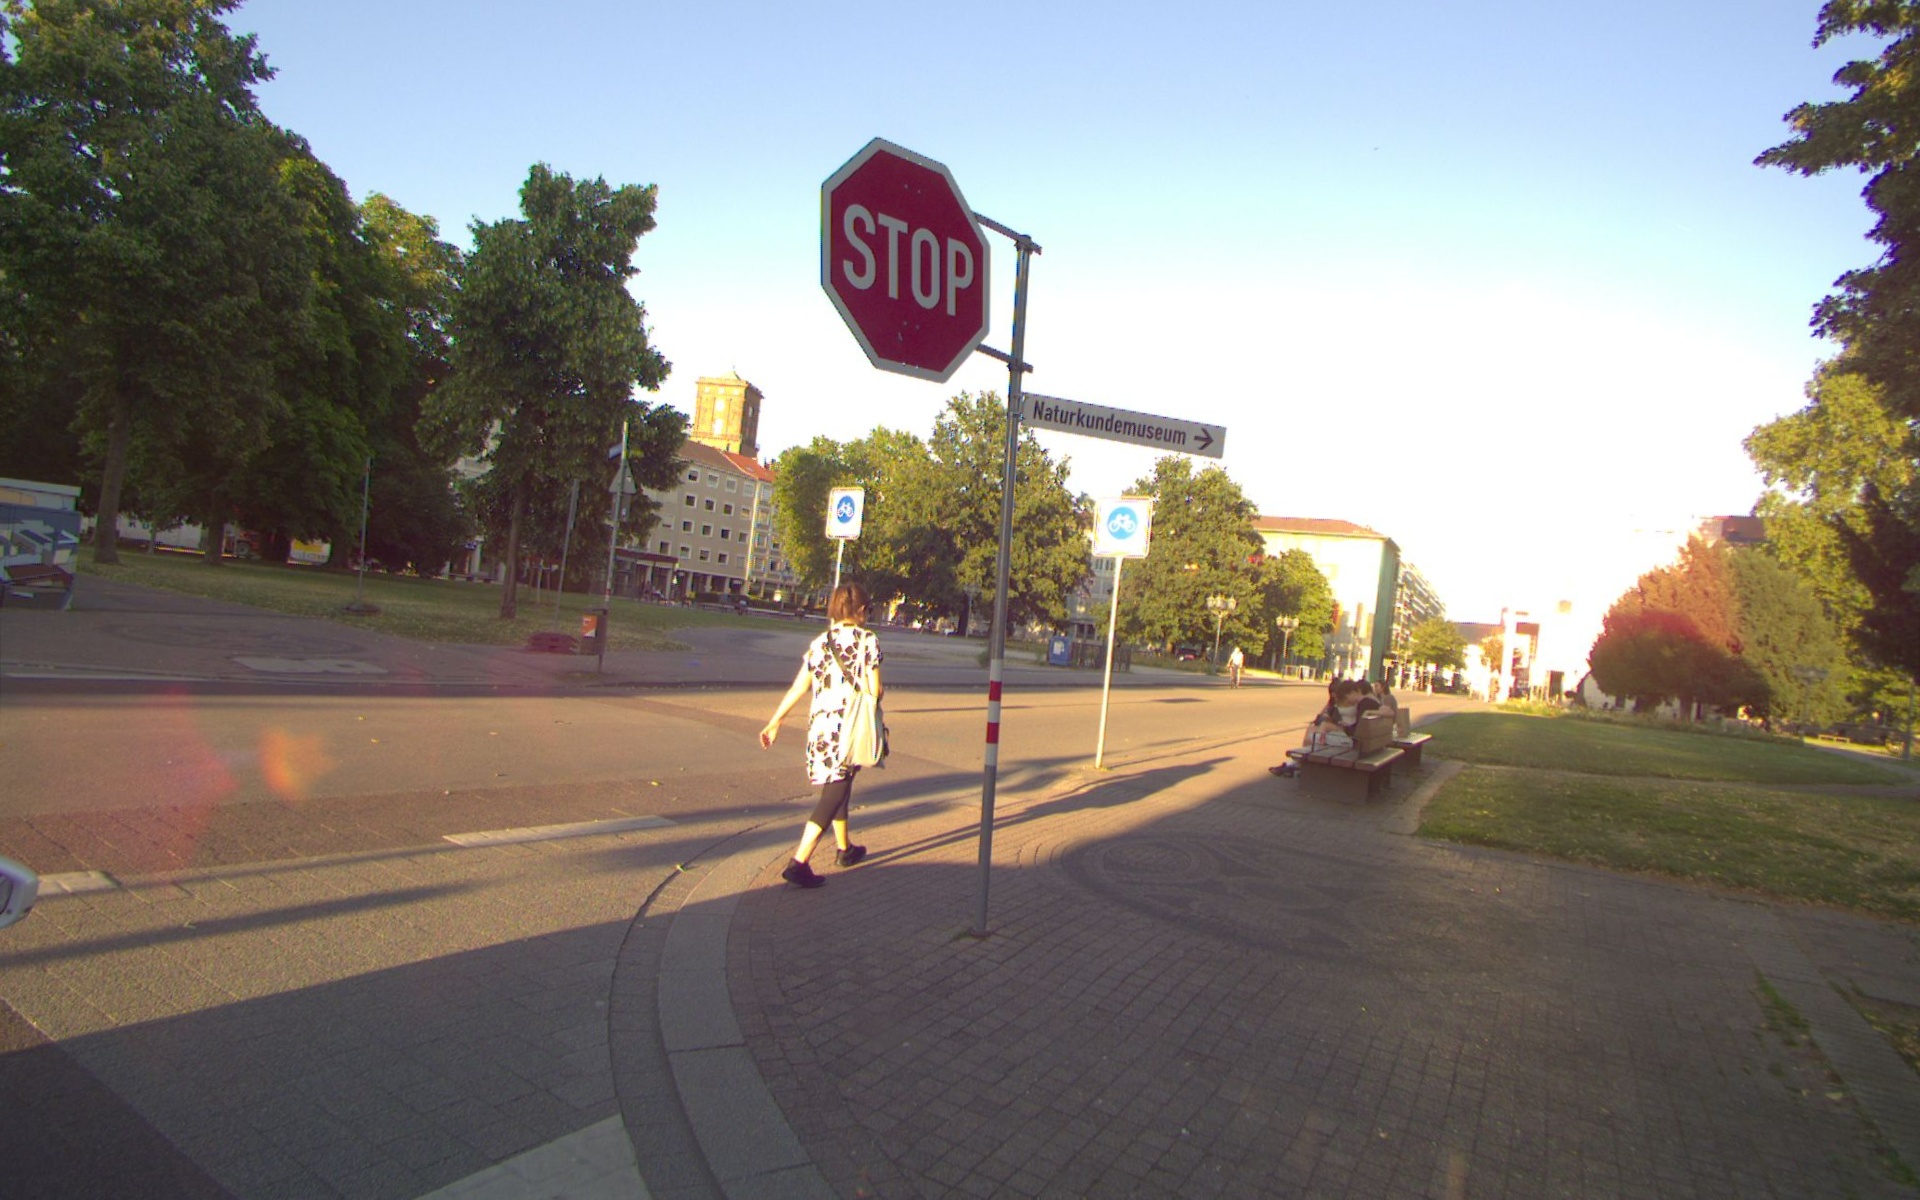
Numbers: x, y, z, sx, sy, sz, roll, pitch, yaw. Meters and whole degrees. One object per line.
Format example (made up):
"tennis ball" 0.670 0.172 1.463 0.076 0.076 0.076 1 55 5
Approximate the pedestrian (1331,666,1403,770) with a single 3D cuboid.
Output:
"pedestrian" 5.866 1.679 14.494 0.804 1.358 0.598 6 0 26

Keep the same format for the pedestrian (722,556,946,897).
"pedestrian" -0.701 0.671 5.708 0.822 1.710 0.735 6 0 31

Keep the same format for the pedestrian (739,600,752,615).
"pedestrian" -14.044 0.490 65.812 0.609 0.936 0.512 6 0 6

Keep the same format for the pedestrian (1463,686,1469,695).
"pedestrian" 109.196 19.631 217.031 0.785 1.835 0.653 6 0 42

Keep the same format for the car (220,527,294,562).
"car" -53.356 -4.197 76.388 1.967 2.038 4.036 6 -1 32

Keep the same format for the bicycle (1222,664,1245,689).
"bicycle" 11.642 3.248 42.810 0.630 0.953 1.463 6 -1 24

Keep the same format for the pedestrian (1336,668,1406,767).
"pedestrian" 6.163 1.744 15.080 0.804 1.358 0.598 6 0 26

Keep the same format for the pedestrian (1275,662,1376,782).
"pedestrian" 4.329 1.438 11.970 0.857 1.277 0.598 6 0 0

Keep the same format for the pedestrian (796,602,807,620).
"pedestrian" -10.336 0.707 65.619 0.610 1.091 0.511 6 0 -9

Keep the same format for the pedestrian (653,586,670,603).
"pedestrian" -20.542 -0.387 69.254 0.893 1.091 0.614 6 0 -42

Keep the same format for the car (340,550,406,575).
"car" -42.345 -2.690 72.658 1.964 1.255 3.583 6 -1 25

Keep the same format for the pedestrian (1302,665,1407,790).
"pedestrian" 4.418 1.409 11.315 0.803 1.253 0.683 6 0 1

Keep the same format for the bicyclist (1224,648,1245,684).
"bicyclist" 11.693 2.808 42.815 0.630 1.461 0.695 6 0 25
